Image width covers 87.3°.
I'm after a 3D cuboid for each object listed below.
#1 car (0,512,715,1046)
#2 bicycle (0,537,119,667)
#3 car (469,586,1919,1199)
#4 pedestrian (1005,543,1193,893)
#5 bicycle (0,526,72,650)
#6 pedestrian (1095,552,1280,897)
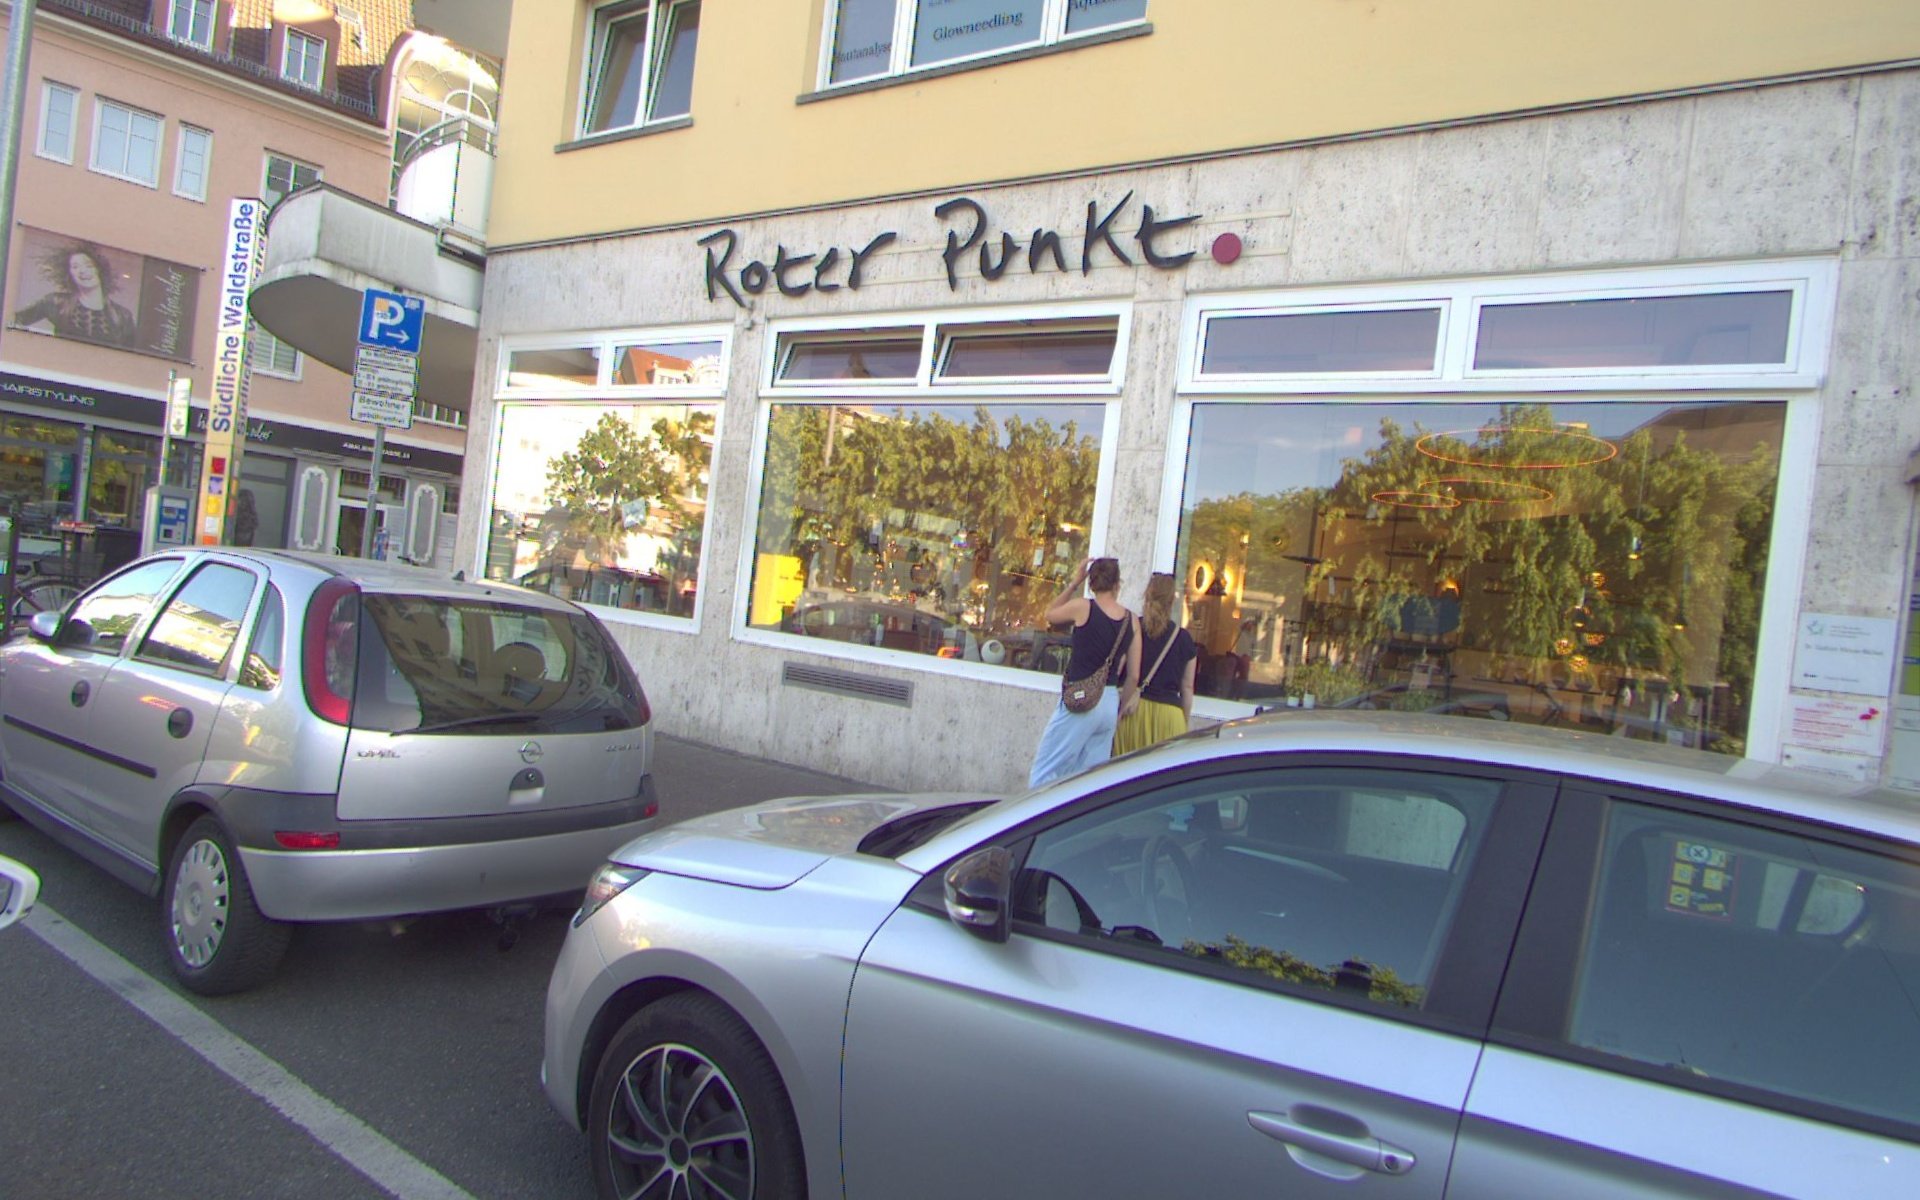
[{"bbox_3d":[-2.934,0.486,4.444,3.420,1.407,1.548,6,-1,33],"label":"car"},{"bbox_3d":[-8.129,-0.004,8.207,0.348,1.051,1.871,6,1,38],"label":"bicycle"},{"bbox_3d":[0.781,0.922,2.271,3.598,1.444,1.550,6,-1,30],"label":"car"},{"bbox_3d":[0.713,0.600,5.346,0.648,1.685,0.647,7,0,-8],"label":"pedestrian"},{"bbox_3d":[-9.090,-0.150,8.811,0.408,1.101,1.872,6,1,35],"label":"bicycle"},{"bbox_3d":[1.280,0.688,5.779,0.729,1.805,0.568,7,0,1],"label":"pedestrian"}]
